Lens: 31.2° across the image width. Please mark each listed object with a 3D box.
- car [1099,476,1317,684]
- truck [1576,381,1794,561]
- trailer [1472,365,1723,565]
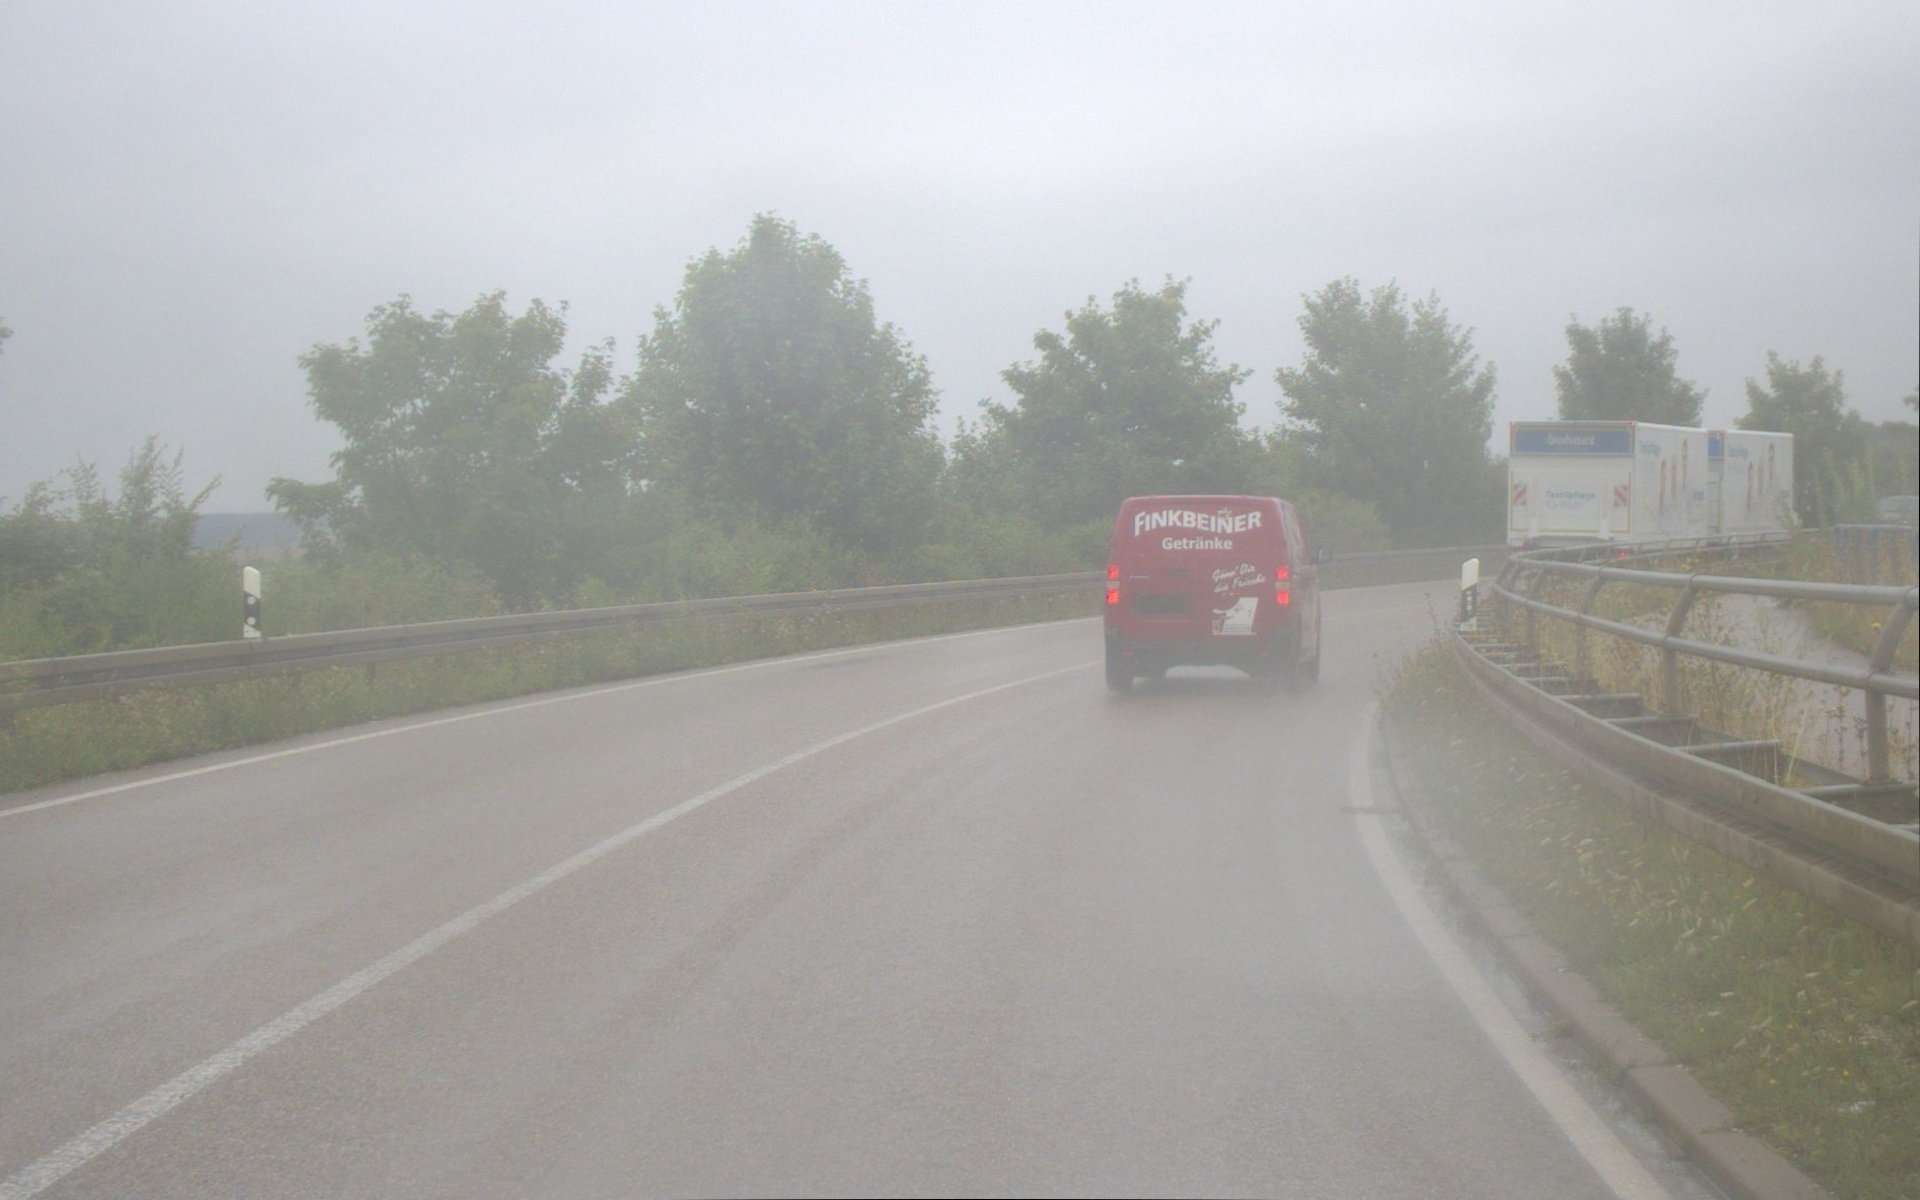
[{"bbox_3d":[2.494,-0.251,34.322,1.994,1.919,4.143,-1,2,5],"label":"car"},{"bbox_3d":[16.889,-2.916,79.607,3.205,3.908,8.729,1,1,24],"label":"truck"},{"bbox_3d":[13.401,-2.736,71.611,3.205,3.908,8.729,1,1,24],"label":"trailer"}]
